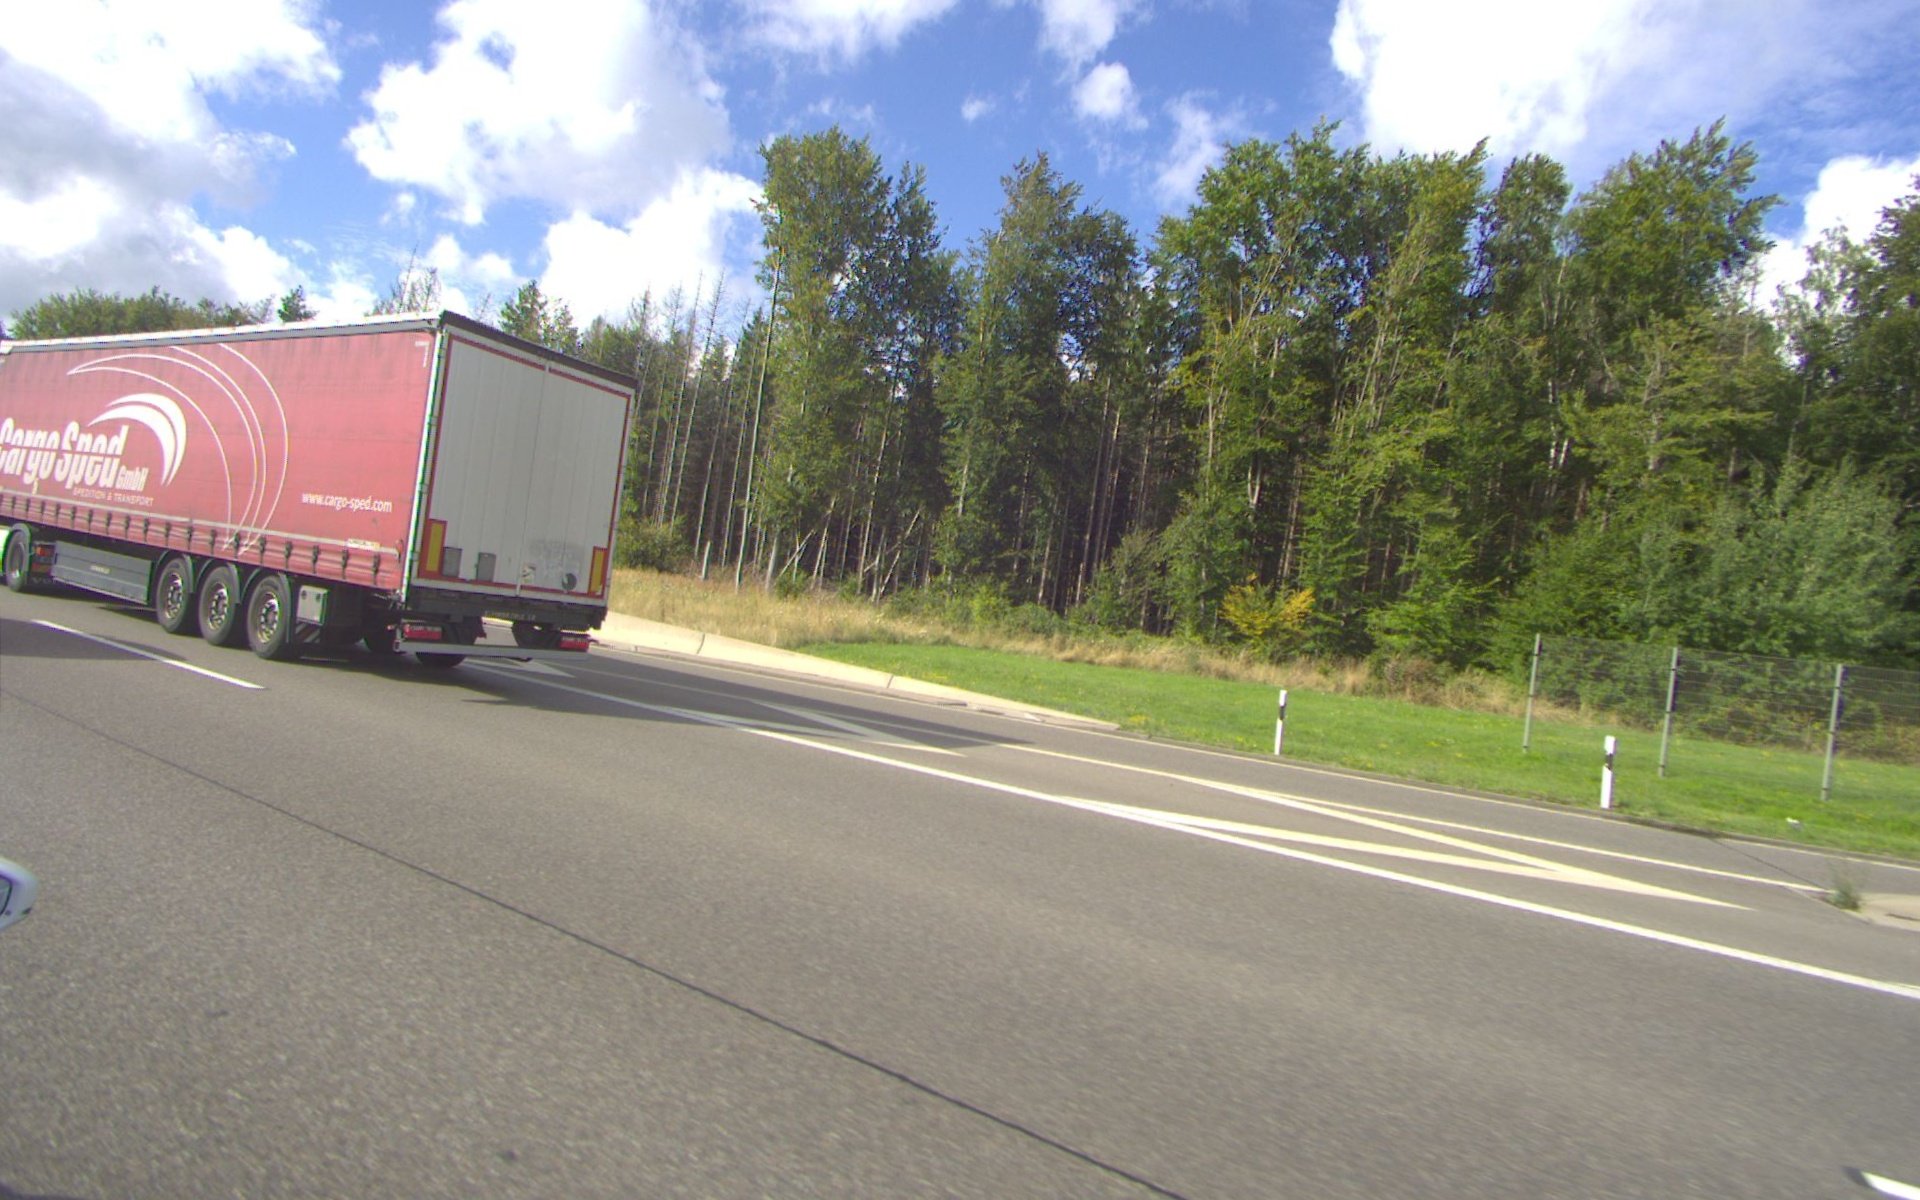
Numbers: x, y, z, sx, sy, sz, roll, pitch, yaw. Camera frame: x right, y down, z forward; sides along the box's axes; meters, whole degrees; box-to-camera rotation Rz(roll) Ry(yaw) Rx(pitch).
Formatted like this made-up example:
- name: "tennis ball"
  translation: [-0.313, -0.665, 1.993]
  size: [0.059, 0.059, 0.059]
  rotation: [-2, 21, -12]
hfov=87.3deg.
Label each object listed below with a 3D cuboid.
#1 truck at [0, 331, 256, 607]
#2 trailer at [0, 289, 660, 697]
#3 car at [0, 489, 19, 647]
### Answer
- name: "truck"
  translation: [-15.968, -2.321, 18.335]
  size: [5.677, 4.094, 2.778]
  rotation: [7, -1, 32]
- name: "trailer"
  translation: [-10.364, -1.636, 14.816]
  size: [13.486, 4.093, 2.778]
  rotation: [7, -1, 32]
- name: "car"
  translation: [-11.677, -0.593, 10.329]
  size: [4.384, 1.548, 1.775]
  rotation: [7, 0, 32]
